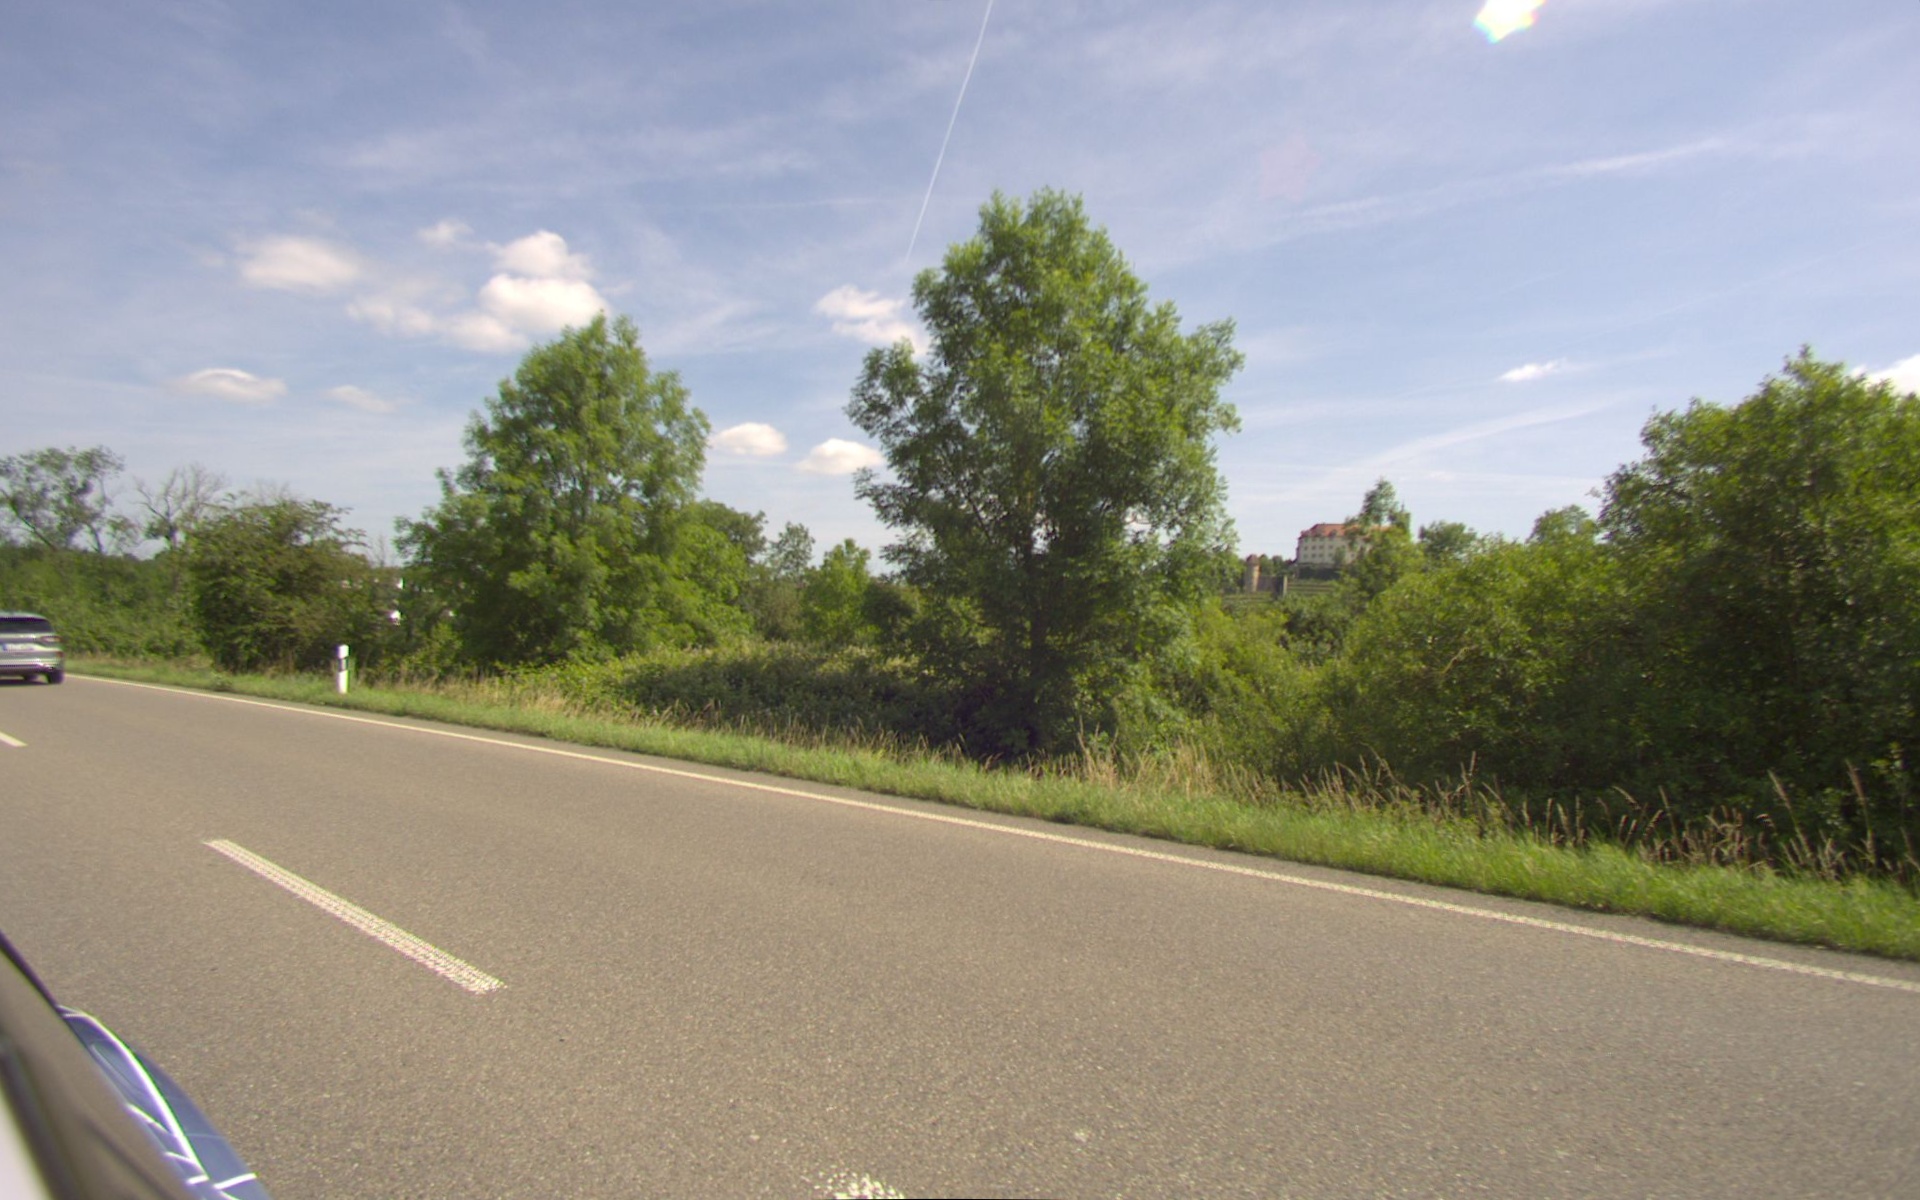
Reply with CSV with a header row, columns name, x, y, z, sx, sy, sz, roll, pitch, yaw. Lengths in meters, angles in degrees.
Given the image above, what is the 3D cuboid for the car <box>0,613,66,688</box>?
name,x,y,z,sx,sy,sz,roll,pitch,yaw
car,-22.521,1.131,23.559,4.397,1.617,1.937,-1,-1,40
